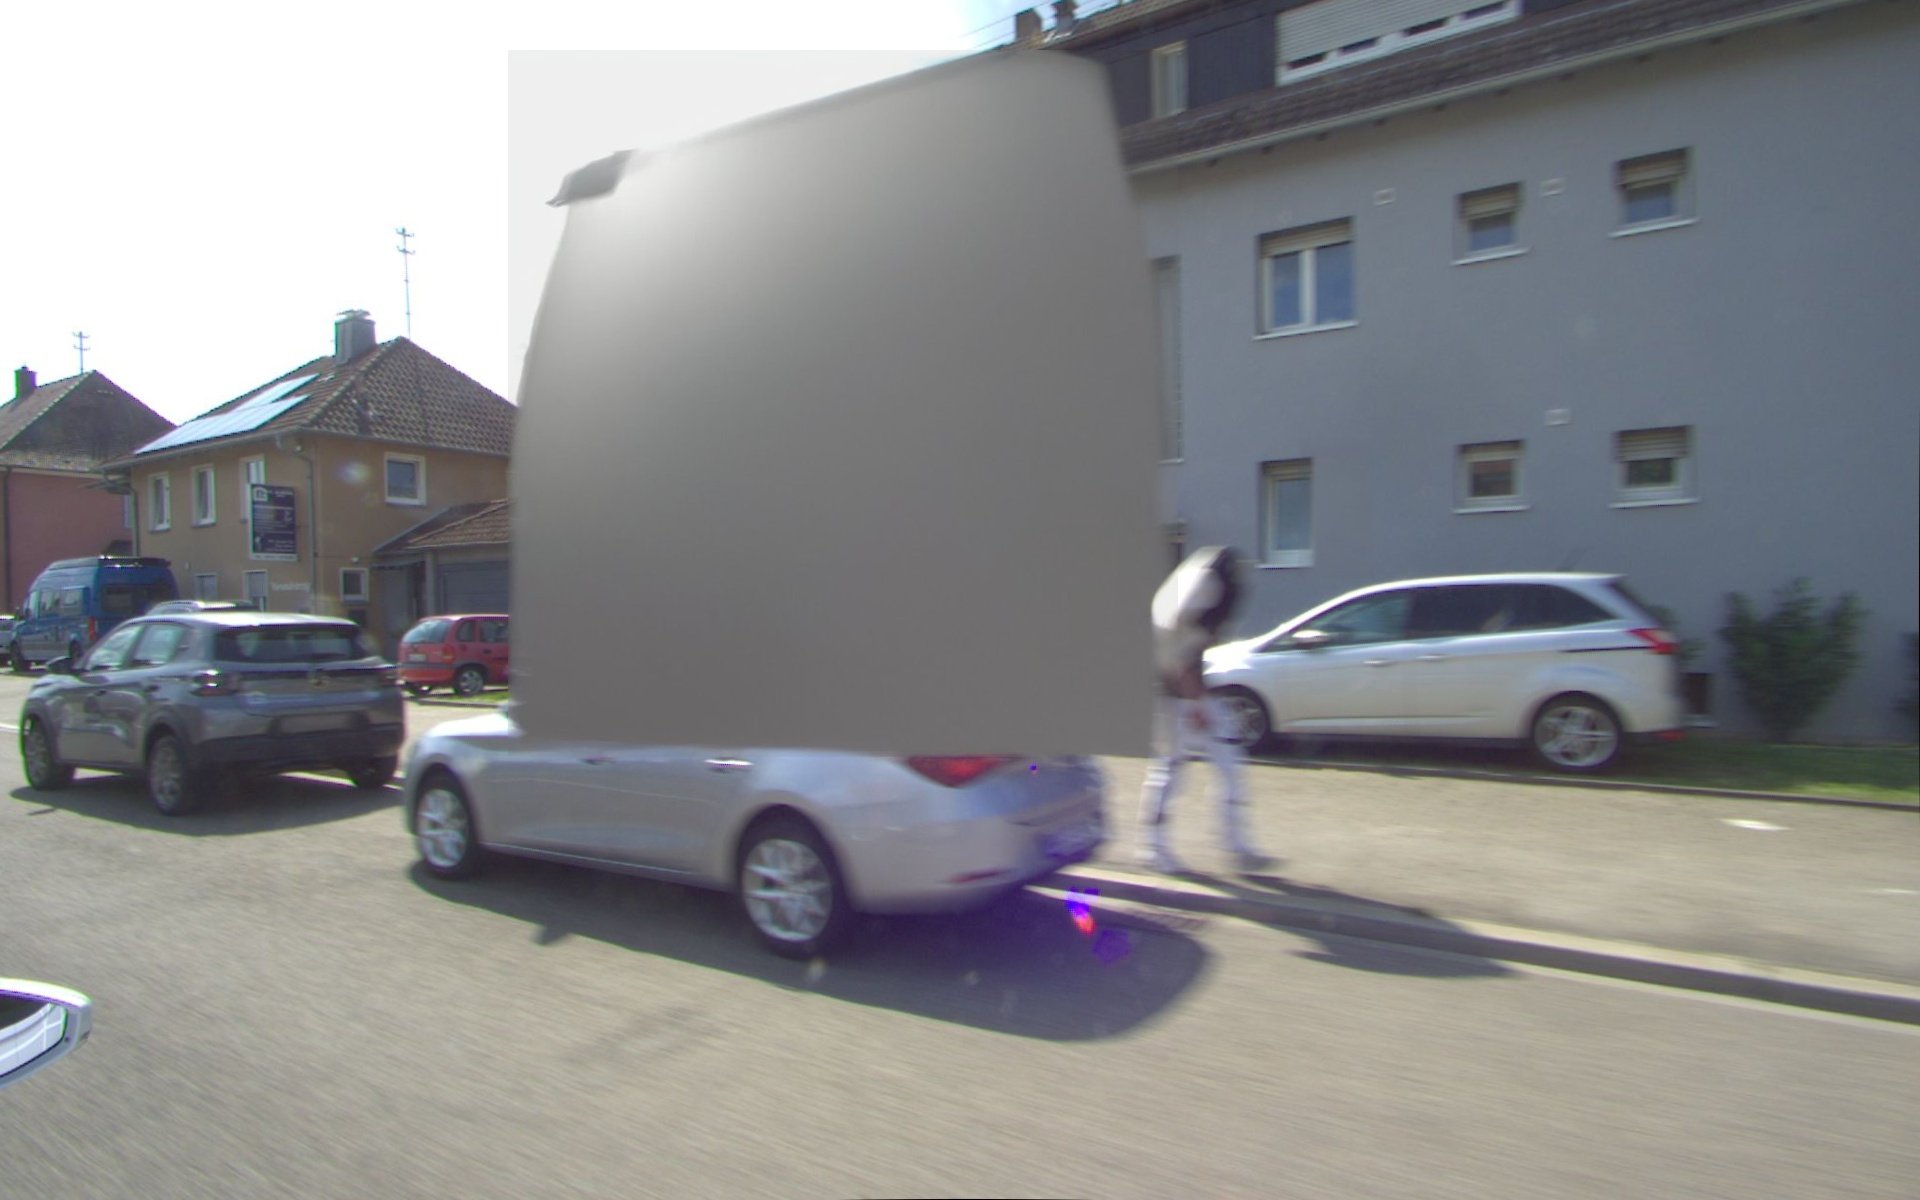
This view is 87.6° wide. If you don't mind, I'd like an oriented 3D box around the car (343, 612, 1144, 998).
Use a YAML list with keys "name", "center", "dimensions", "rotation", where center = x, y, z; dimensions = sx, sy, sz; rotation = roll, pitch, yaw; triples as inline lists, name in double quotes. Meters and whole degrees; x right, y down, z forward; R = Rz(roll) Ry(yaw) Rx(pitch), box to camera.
- name: "car"
  center: [-1.421, 0.851, 5.810]
  dimensions: [4.576, 1.472, 1.812]
  rotation: [-1, -2, 31]

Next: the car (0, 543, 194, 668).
- name: "car"
  center: [-22.769, 0.221, 26.313]
  dimensions: [6.154, 2.967, 2.148]
  rotation: [-1, -2, 32]

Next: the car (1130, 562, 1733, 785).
- name: "car"
  center: [4.142, 0.579, 9.401]
  dimensions: [4.697, 1.669, 1.754]
  rotation: [-1, 1, 29]

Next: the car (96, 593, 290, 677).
- name: "car"
  center: [-17.614, 0.738, 22.936]
  dimensions: [4.792, 1.735, 1.833]
  rotation: [0, 2, 31]

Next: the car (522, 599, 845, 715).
- name: "car"
  center: [-4.132, 0.747, 14.695]
  dimensions: [4.787, 1.443, 1.795]
  rotation: [-1, 1, 32]

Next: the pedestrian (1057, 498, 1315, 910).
- name: "pedestrian"
  center: [1.275, 0.511, 5.549]
  dimensions: [1.076, 1.971, 1.110]
  rotation: [-1, 0, 32]

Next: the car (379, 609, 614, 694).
- name: "car"
  center: [-8.457, 0.889, 18.562]
  dimensions: [1.701, 1.398, 3.645]
  rotation: [-1, -1, 29]

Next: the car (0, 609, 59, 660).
- name: "car"
  center: [-28.712, 1.015, 29.615]
  dimensions: [4.282, 1.428, 1.648]
  rotation: [-1, 0, 27]

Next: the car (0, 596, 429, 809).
- name: "car"
  center: [-7.014, 0.820, 9.246]
  dimensions: [4.190, 1.579, 1.805]
  rotation: [-1, -2, 30]
